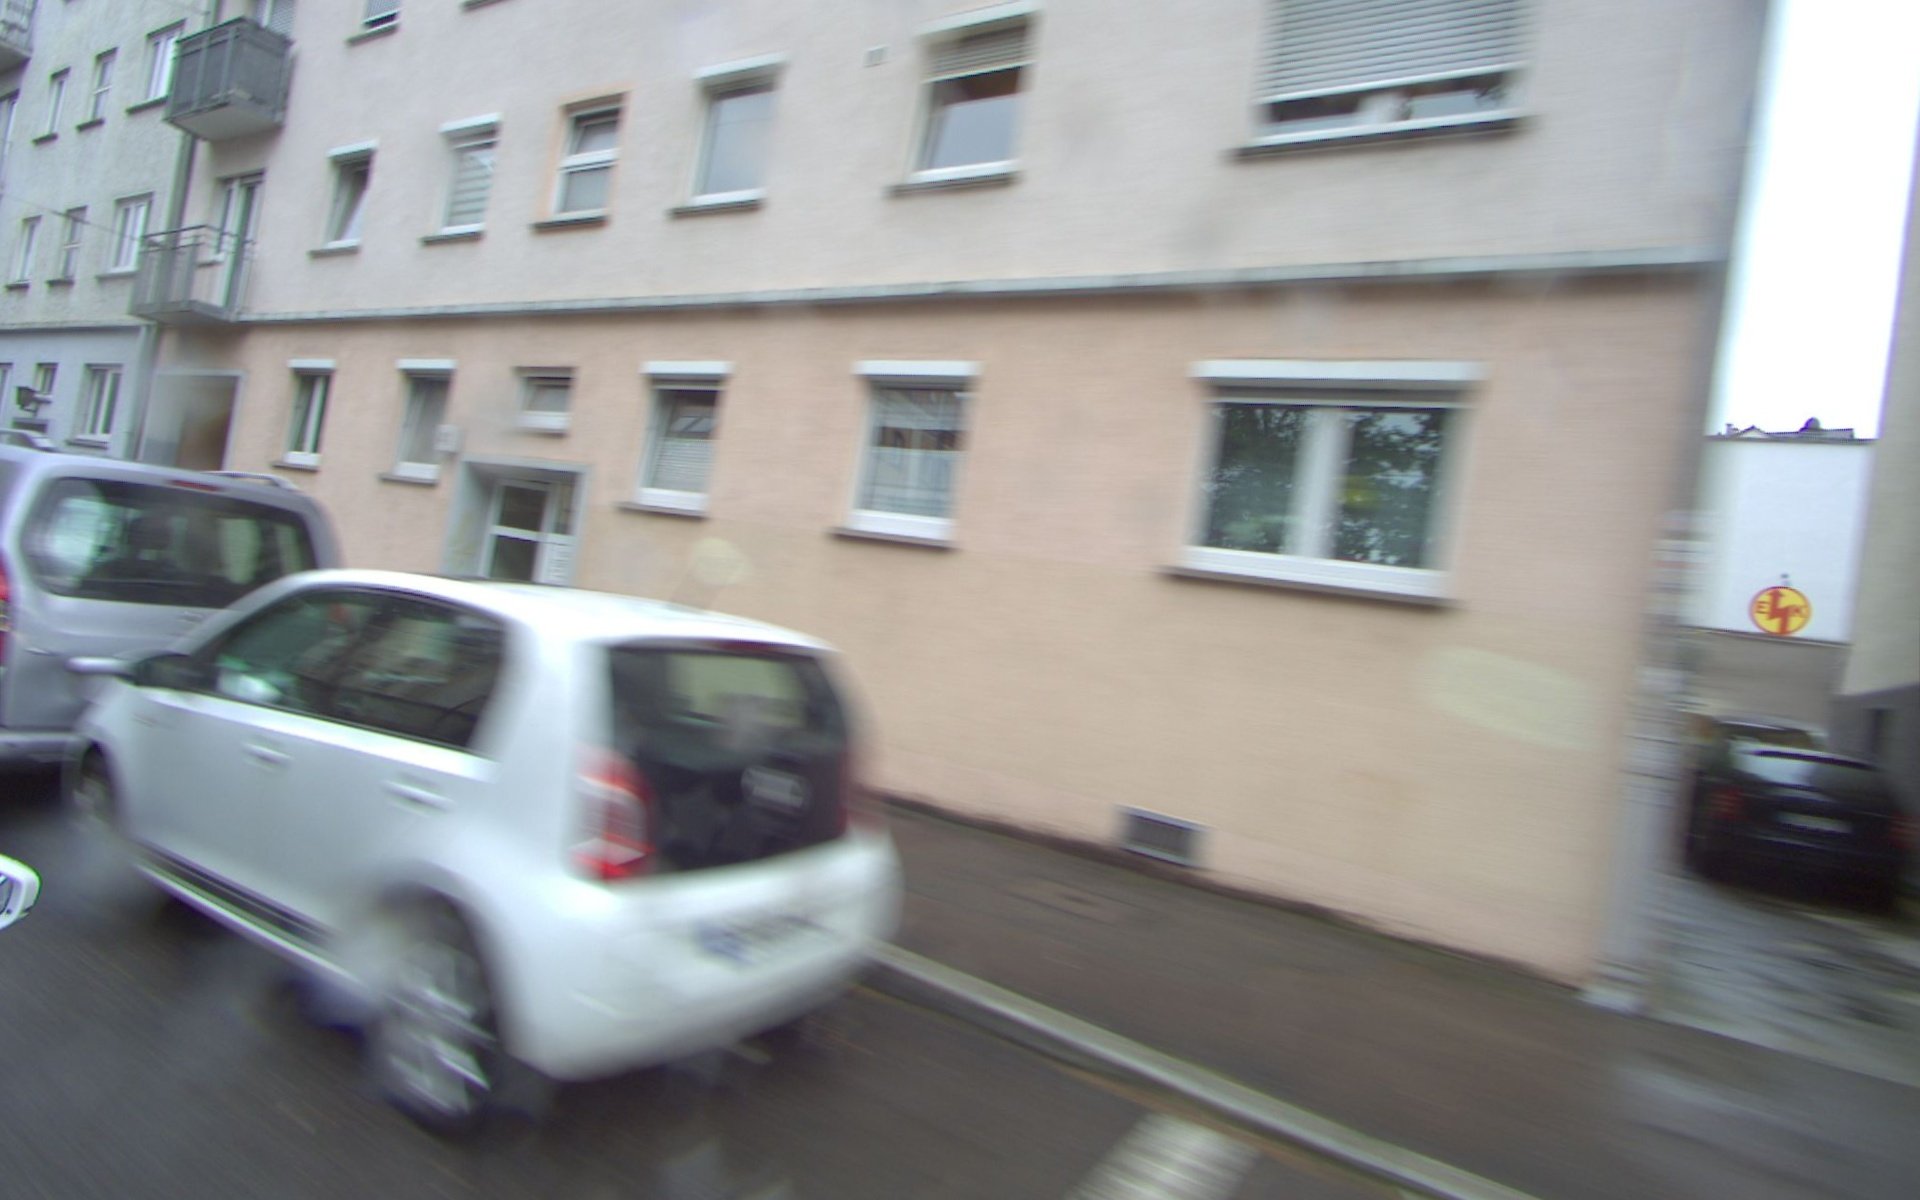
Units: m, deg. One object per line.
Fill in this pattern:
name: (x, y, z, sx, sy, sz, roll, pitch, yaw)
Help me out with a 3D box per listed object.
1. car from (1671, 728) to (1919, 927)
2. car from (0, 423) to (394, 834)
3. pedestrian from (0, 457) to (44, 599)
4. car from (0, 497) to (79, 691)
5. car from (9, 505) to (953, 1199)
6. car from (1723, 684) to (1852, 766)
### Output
car: (8.981, 2.282, 11.036, 1.658, 1.485, 3.992, 7, -2, 34)
car: (-5.568, -0.003, 6.070, 4.141, 1.786, 1.794, 7, -1, 31)
pedestrian: (-13.159, -1.015, 13.637, 1.022, 1.857, 0.746, 7, 1, 33)
car: (-9.702, -0.362, 8.503, 4.820, 1.472, 1.876, 7, -2, 31)
car: (-2.012, 0.590, 3.962, 3.540, 1.479, 1.573, 7, -2, 32)
car: (21.367, 3.267, 26.156, 1.846, 1.702, 3.997, 7, -3, 31)
